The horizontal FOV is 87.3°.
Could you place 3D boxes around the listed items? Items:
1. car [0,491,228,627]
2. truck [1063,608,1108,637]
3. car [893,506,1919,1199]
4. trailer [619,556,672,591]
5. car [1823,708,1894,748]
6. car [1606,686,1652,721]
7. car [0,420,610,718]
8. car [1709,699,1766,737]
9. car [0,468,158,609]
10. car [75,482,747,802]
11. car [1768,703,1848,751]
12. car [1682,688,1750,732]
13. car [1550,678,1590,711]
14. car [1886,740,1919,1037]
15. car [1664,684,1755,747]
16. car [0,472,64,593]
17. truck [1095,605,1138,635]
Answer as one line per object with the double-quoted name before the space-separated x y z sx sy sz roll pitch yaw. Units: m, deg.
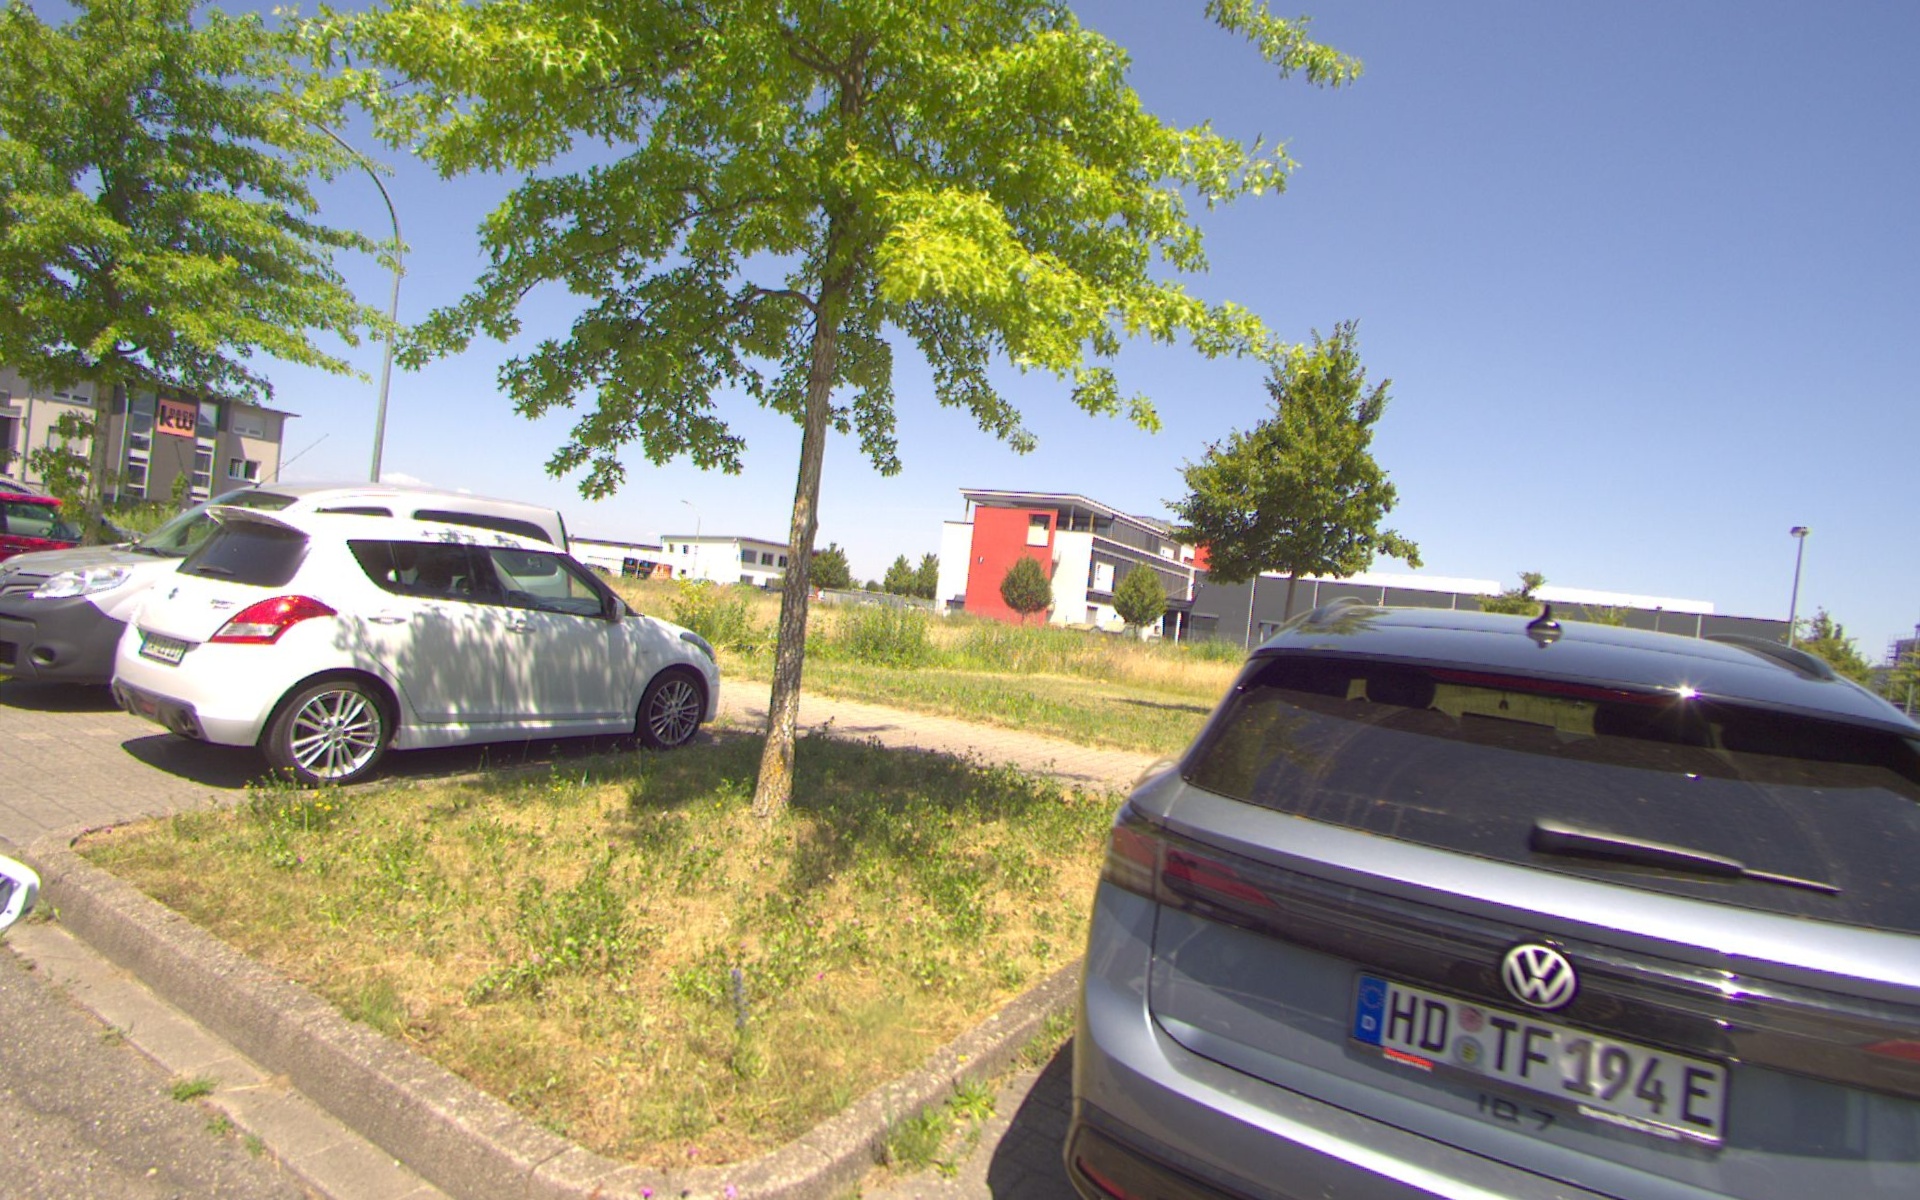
"car" -10.972 -0.521 11.753 1.725 1.435 3.460 6 1 30
"truck" 10.293 1.870 82.409 1.966 2.039 4.348 7 0 30
"car" 1.820 0.799 3.447 1.880 1.581 4.723 6 1 27
"trailer" -28.362 -2.387 90.869 2.195 2.632 3.993 7 0 29
"car" 43.929 6.222 49.255 1.690 1.528 3.992 7 0 31
"car" 35.964 5.539 54.173 1.690 1.528 3.992 7 0 31
"car" -5.442 -0.168 8.577 1.766 1.853 4.405 6 1 32
"car" 39.919 6.019 51.718 1.690 1.528 3.992 7 0 31
"car" -12.903 -0.892 12.734 1.752 1.699 3.878 6 1 31
"car" -3.400 0.239 6.889 1.648 1.522 3.633 6 1 32
"car" 35.086 5.232 41.733 1.690 1.528 3.993 7 0 30
"car" 32.794 4.752 43.723 1.690 1.528 3.993 7 0 30
"car" 33.696 5.195 55.641 1.690 1.470 3.992 7 0 31
"car" 3.988 1.105 2.463 1.618 1.471 4.049 7 1 31
"car" 22.439 3.414 30.229 1.690 1.528 3.327 7 0 31
"car" -15.351 -1.129 13.806 1.752 1.718 4.177 6 1 30
"truck" 12.670 1.625 81.335 1.966 2.039 3.992 7 0 30
